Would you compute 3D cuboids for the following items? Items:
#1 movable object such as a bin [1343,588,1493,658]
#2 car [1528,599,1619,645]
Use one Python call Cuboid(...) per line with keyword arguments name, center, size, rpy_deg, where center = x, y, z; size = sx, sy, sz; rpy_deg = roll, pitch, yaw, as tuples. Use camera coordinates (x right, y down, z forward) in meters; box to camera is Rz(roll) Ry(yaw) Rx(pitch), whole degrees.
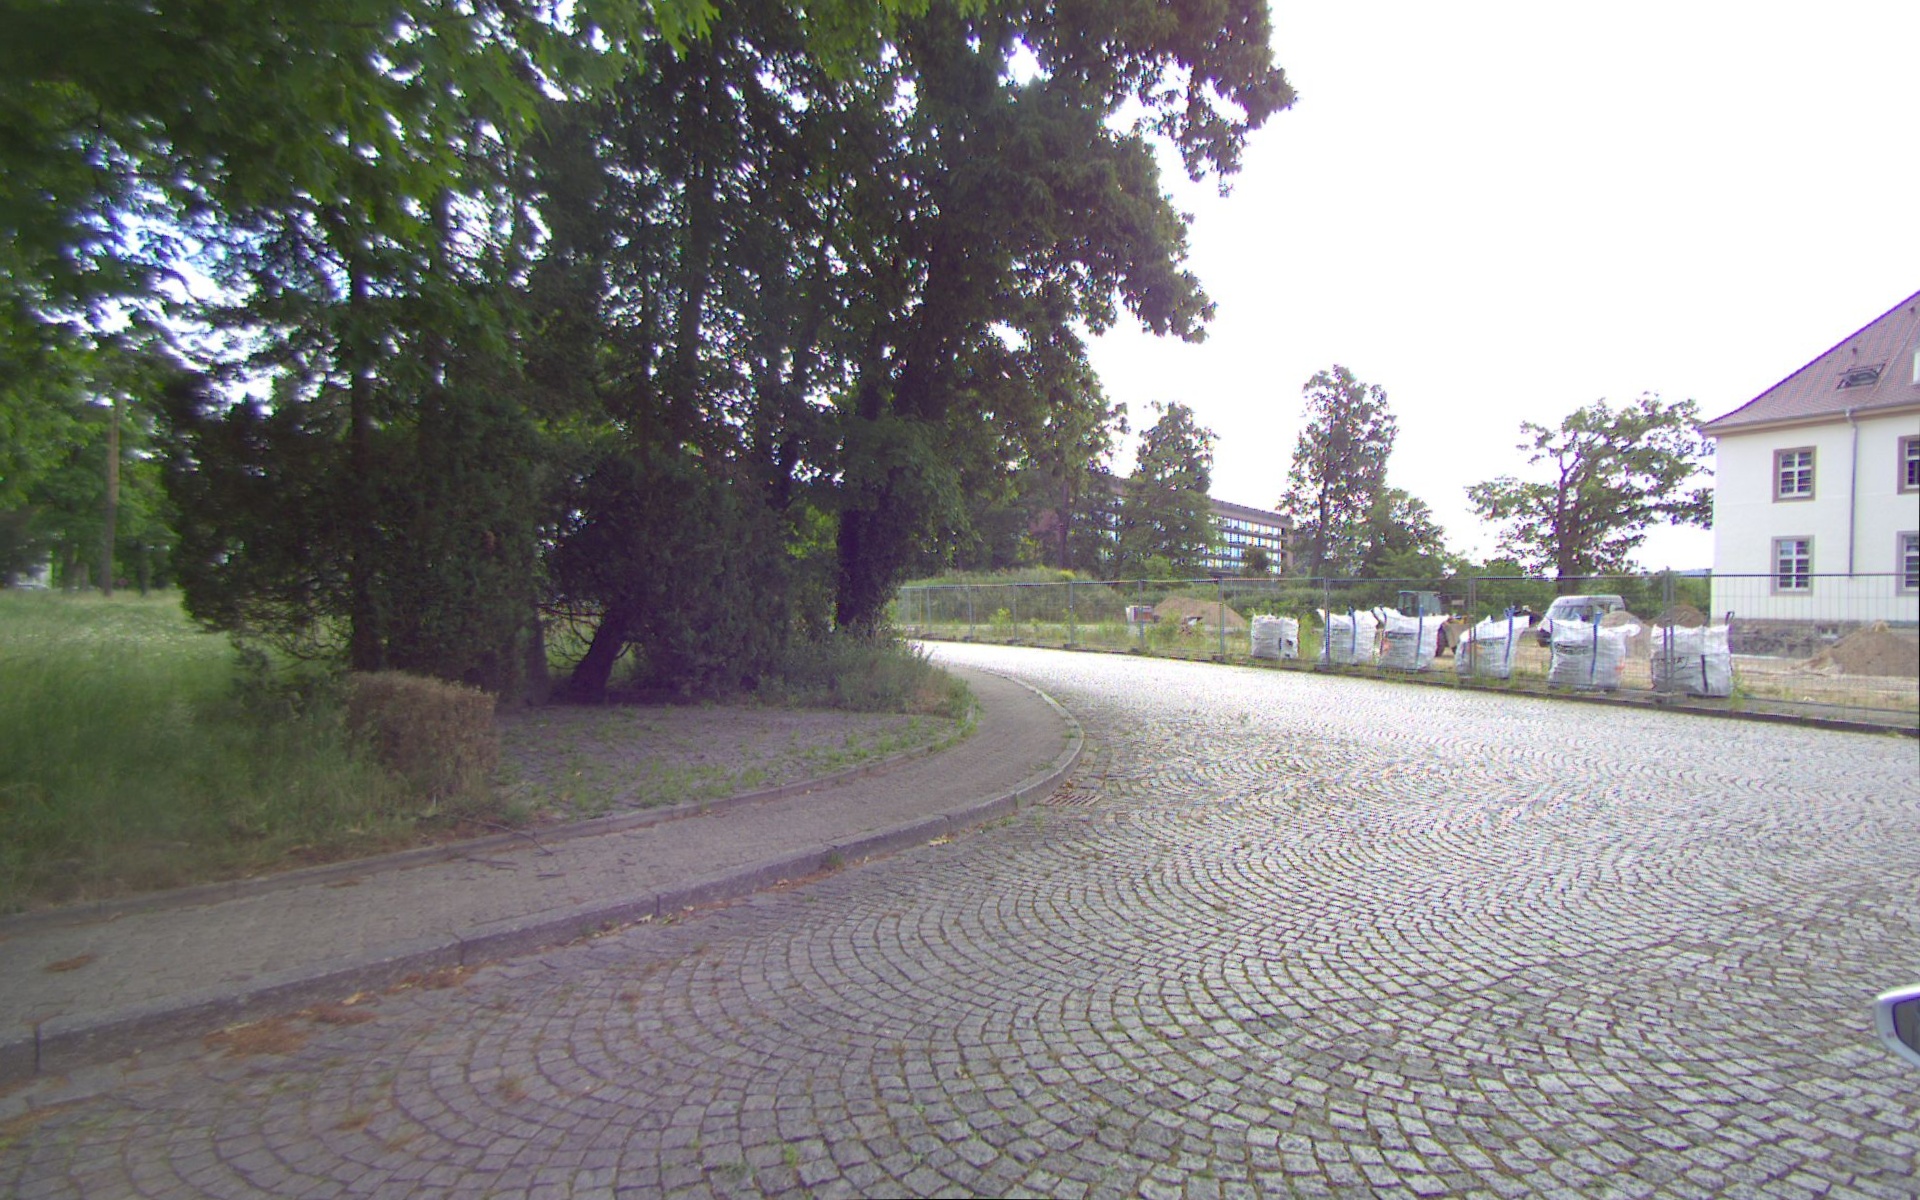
Cuboid(name="movable object such as a bin", center=(17.988, 0.840, 39.785), size=(1.975, 2.590, 5.307), rpy_deg=(1, 0, -28))
Cuboid(name="car", center=(30.717, 1.072, 50.263), size=(4.848, 2.179, 2.054), rpy_deg=(1, 0, -34))
